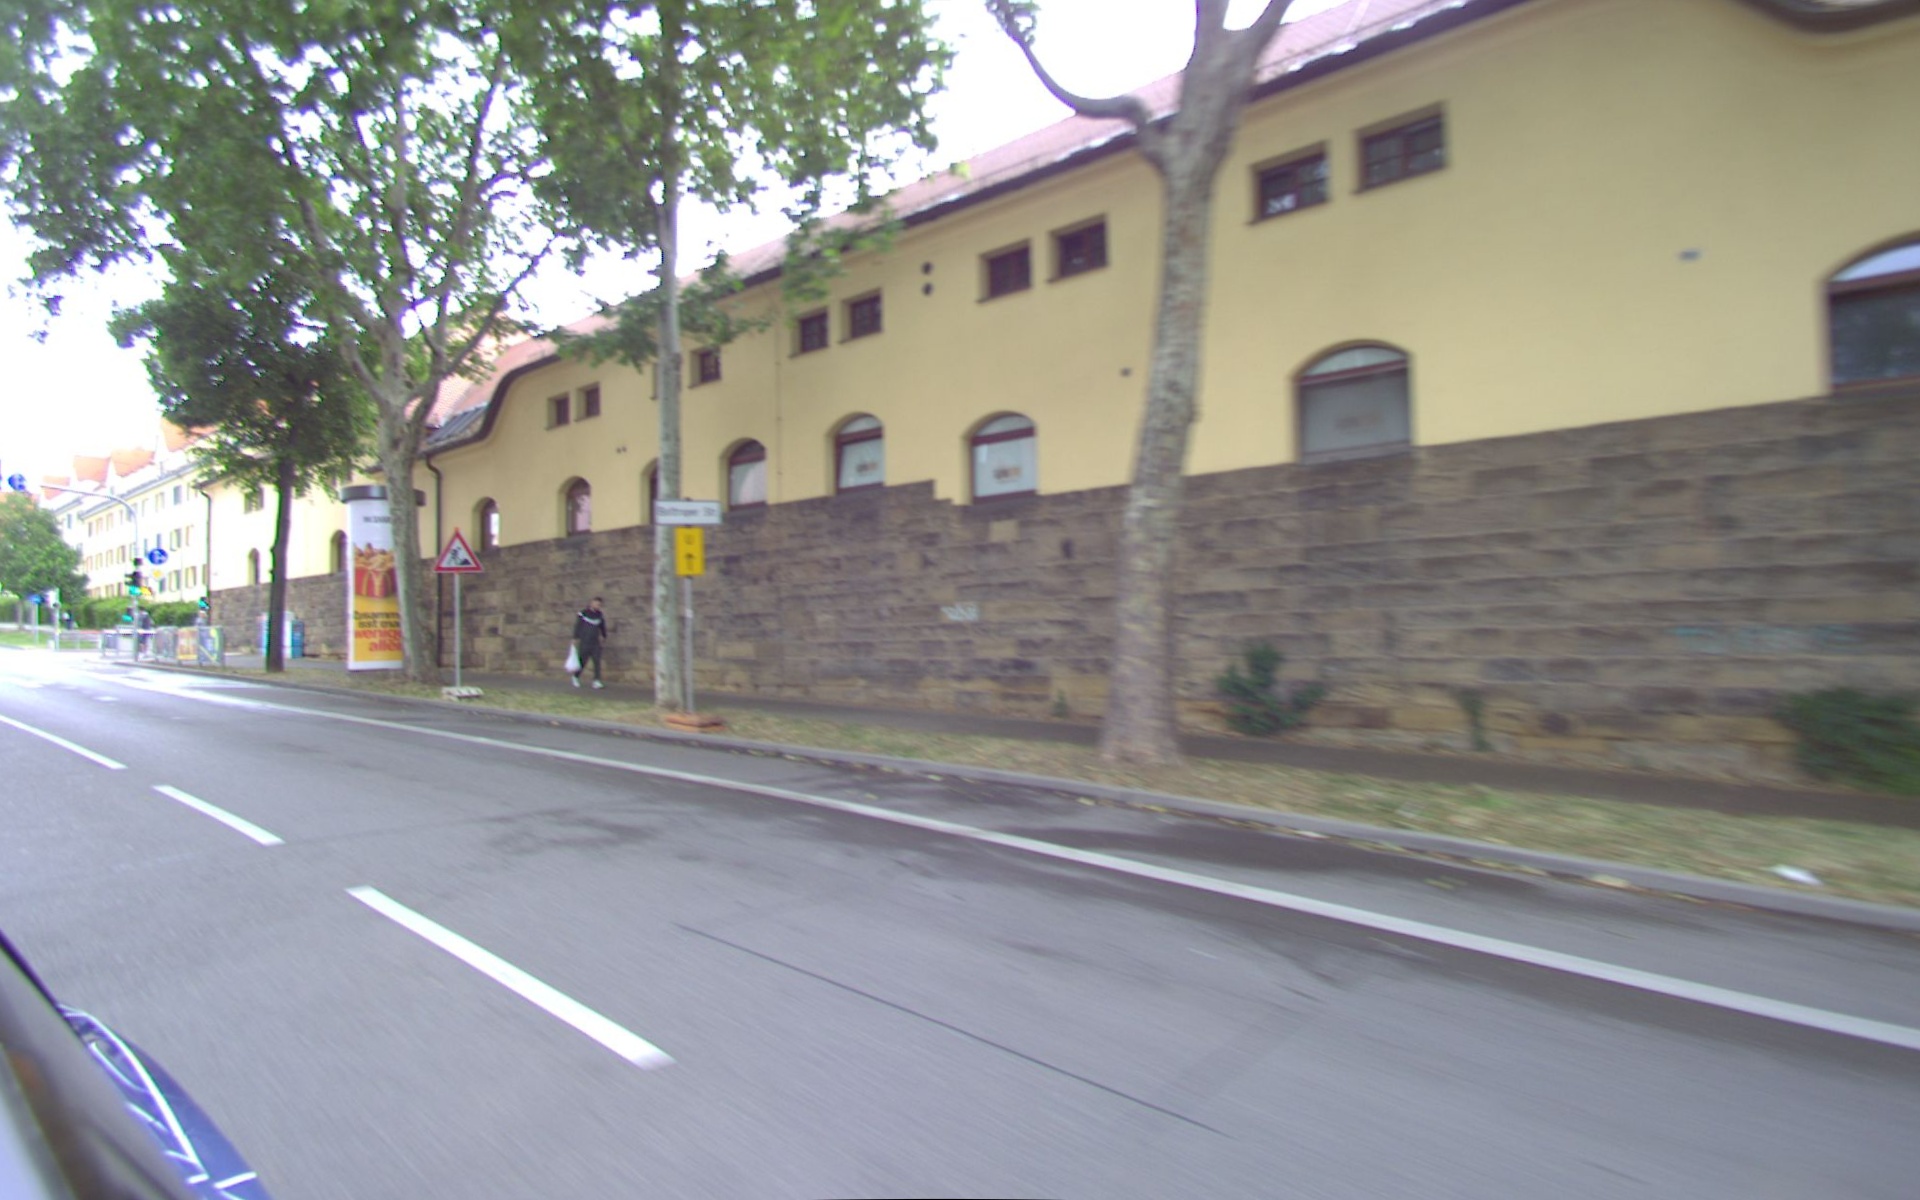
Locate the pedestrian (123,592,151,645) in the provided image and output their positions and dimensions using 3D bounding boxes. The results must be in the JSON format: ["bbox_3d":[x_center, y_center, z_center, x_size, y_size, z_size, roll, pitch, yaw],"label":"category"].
[{"bbox_3d":[-28.189,0.648,34.652,0.841,1.790,0.558,-1,-2,39],"label":"pedestrian"}]

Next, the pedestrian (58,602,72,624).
[{"bbox_3d":[-68.113,0.985,77.011,0.617,1.631,0.634,-1,-2,38],"label":"pedestrian"}]

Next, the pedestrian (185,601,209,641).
[{"bbox_3d":[-30.371,0.827,40.276,0.841,1.578,0.558,-1,-2,39],"label":"pedestrian"}]

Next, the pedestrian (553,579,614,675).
[{"bbox_3d":[-7.291,0.516,19.611,0.874,1.808,0.769,-1,-2,39],"label":"pedestrian"}]
